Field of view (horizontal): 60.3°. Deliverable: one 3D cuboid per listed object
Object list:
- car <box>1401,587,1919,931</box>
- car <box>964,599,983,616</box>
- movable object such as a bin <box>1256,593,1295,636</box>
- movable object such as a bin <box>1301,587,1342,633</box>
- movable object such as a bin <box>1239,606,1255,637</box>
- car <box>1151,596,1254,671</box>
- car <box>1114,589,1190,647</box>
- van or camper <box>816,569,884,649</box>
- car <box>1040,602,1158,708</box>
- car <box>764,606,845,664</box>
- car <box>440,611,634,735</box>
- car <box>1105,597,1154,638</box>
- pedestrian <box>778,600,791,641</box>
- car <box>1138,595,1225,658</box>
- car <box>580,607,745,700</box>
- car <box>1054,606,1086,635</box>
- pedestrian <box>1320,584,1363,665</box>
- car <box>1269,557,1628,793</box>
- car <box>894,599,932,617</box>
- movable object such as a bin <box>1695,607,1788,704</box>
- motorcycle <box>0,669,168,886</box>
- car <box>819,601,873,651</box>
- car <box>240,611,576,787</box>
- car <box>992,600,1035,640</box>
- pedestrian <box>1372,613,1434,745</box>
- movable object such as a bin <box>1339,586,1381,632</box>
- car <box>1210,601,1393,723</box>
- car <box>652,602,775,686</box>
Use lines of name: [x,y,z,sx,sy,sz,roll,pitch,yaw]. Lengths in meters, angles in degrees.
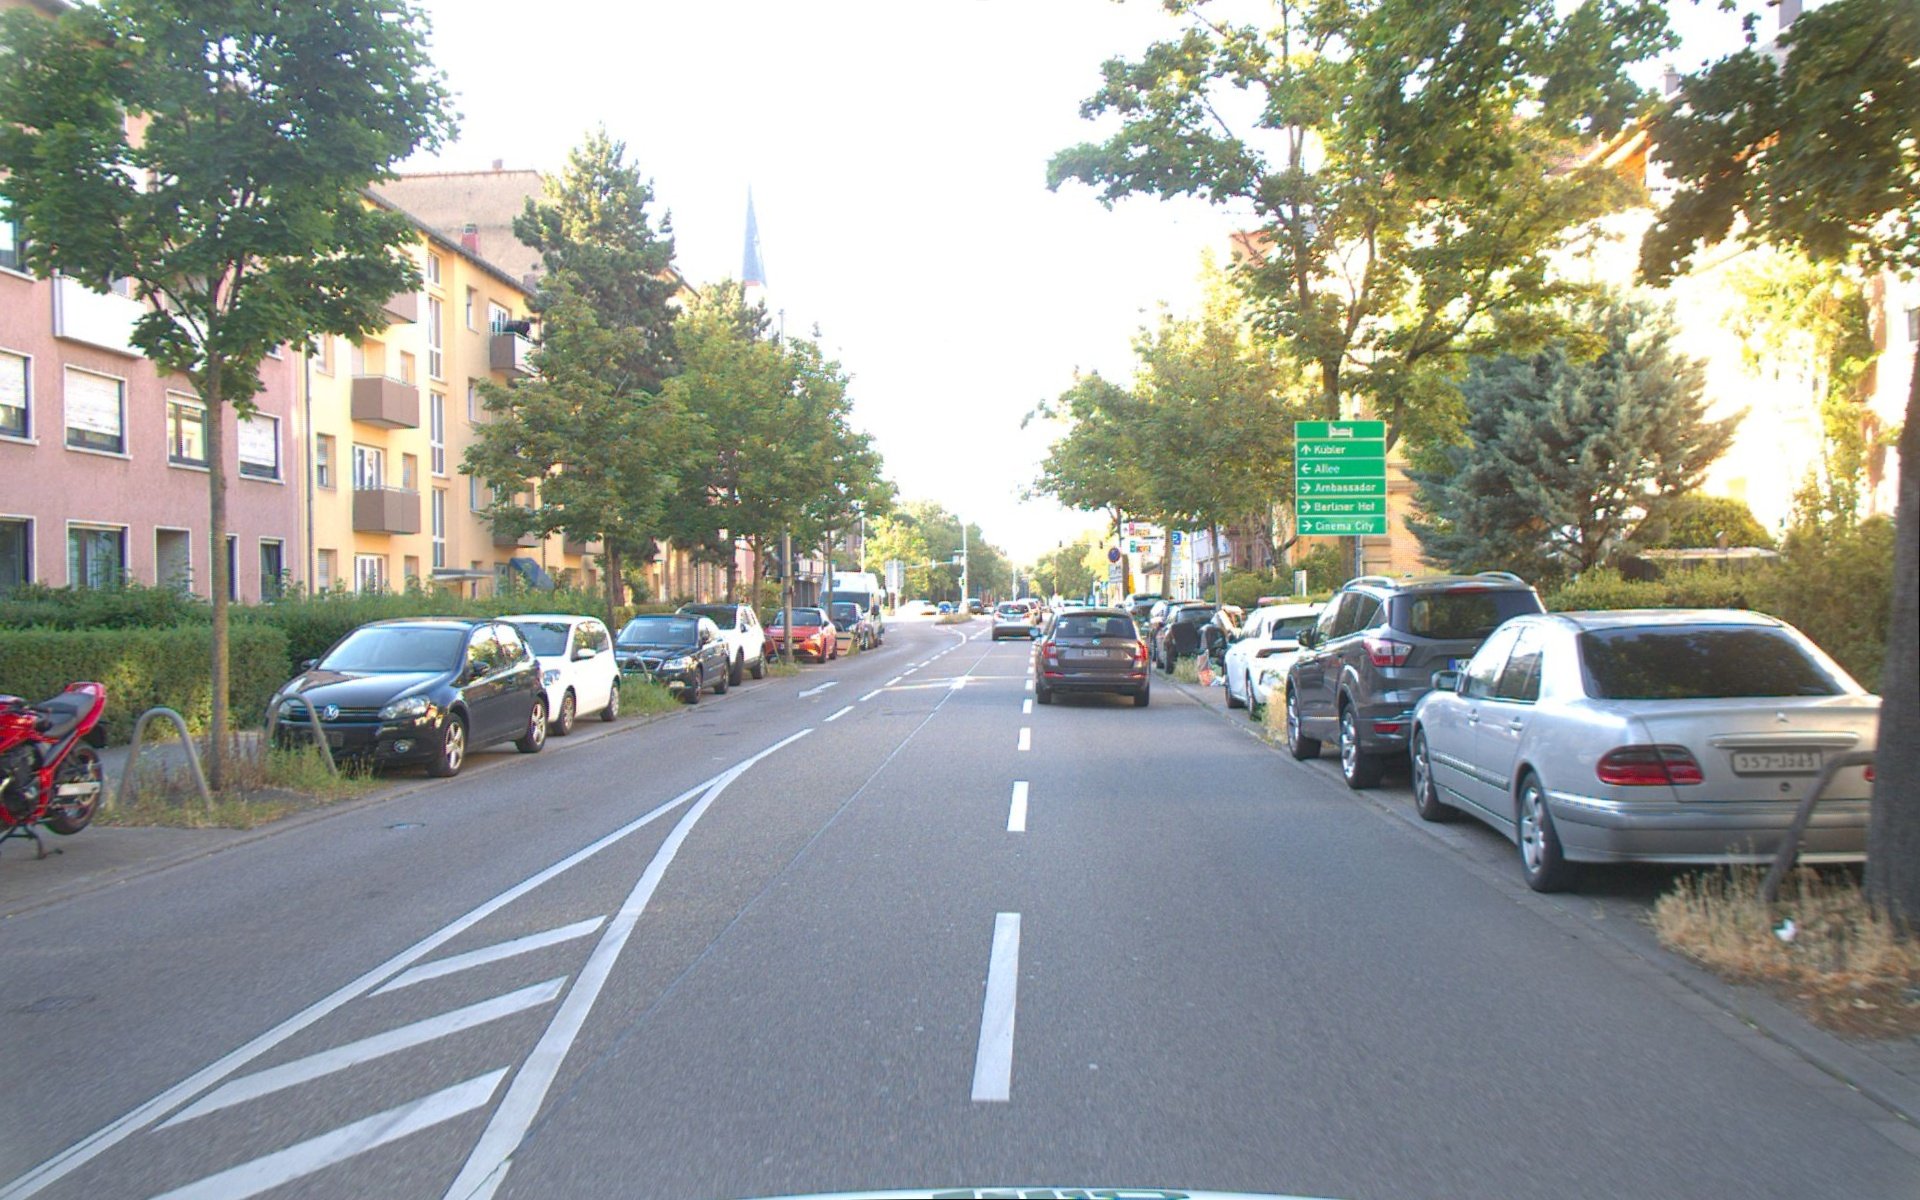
car: [3.994,0.715,9.857,1.747,1.530,4.833,-1,0,4]
car: [1.247,0.708,154.701,1.587,1.521,3.346,-1,0,-2]
movable object such as a bin: [11.147,0.509,58.443,1.226,1.467,0.995,-1,0,17]
movable object such as a bin: [12.748,0.354,58.356,1.133,1.583,0.993,-1,0,-7]
movable object such as a bin: [10.141,0.766,58.390,0.483,1.077,0.548,-1,0,15]
car: [5.219,0.676,36.102,1.733,1.474,4.486,-2,0,2]
car: [5.910,0.524,51.440,1.907,1.684,4.797,-1,0,2]
van or camper: [-3.907,0.321,59.762,1.994,2.710,6.015,1,0,0]
car: [2.099,0.790,25.756,1.672,1.482,4.160,1,0,3]
car: [-4.240,0.924,45.625,1.681,1.477,3.924,0,0,2]
car: [-5.576,0.922,22.198,1.558,1.518,3.642,0,-1,2]
car: [6.901,0.686,67.725,1.817,1.538,4.837,-3,0,4]
pedestrian: [-7.205,0.846,67.955,0.470,1.681,0.725,-1,0,-4]
car: [5.681,0.650,42.896,1.681,1.498,4.432,-2,0,1]
car: [-5.192,0.886,29.459,1.952,1.473,4.459,-1,0,2]
car: [5.928,1.084,89.371,1.616,1.510,4.241,0,0,3]
pedestrian: [7.958,0.506,34.549,0.731,1.644,0.580,-1,0,1]
car: [4.155,0.572,14.944,1.877,1.711,4.708,-3,0,1]
car: [-4.644,0.761,163.080,1.975,1.699,3.955,-1,0,-33]
movable object such as a bin: [9.283,0.650,19.669,0.710,1.076,0.684,-4,0,2]
motorcycle: [-5.842,1.067,10.444,0.625,1.156,2.173,1,0,0]
car: [-3.757,0.843,54.800,1.374,1.576,2.763,1,0,4]
car: [-5.480,0.904,17.054,1.799,1.544,4.317,0,0,3]
car: [2.176,0.768,66.372,1.672,1.536,4.310,0,0,3]
pedestrian: [6.270,1.115,23.424,0.654,1.814,0.764,2,-2,2]
movable object such as a bin: [14.054,0.304,58.125,1.133,1.583,0.993,-1,0,-7]
car: [4.503,0.756,22.412,1.725,1.426,4.335,-2,0,3]
car: [-5.049,0.863,34.454,1.739,1.616,4.187,0,0,3]
